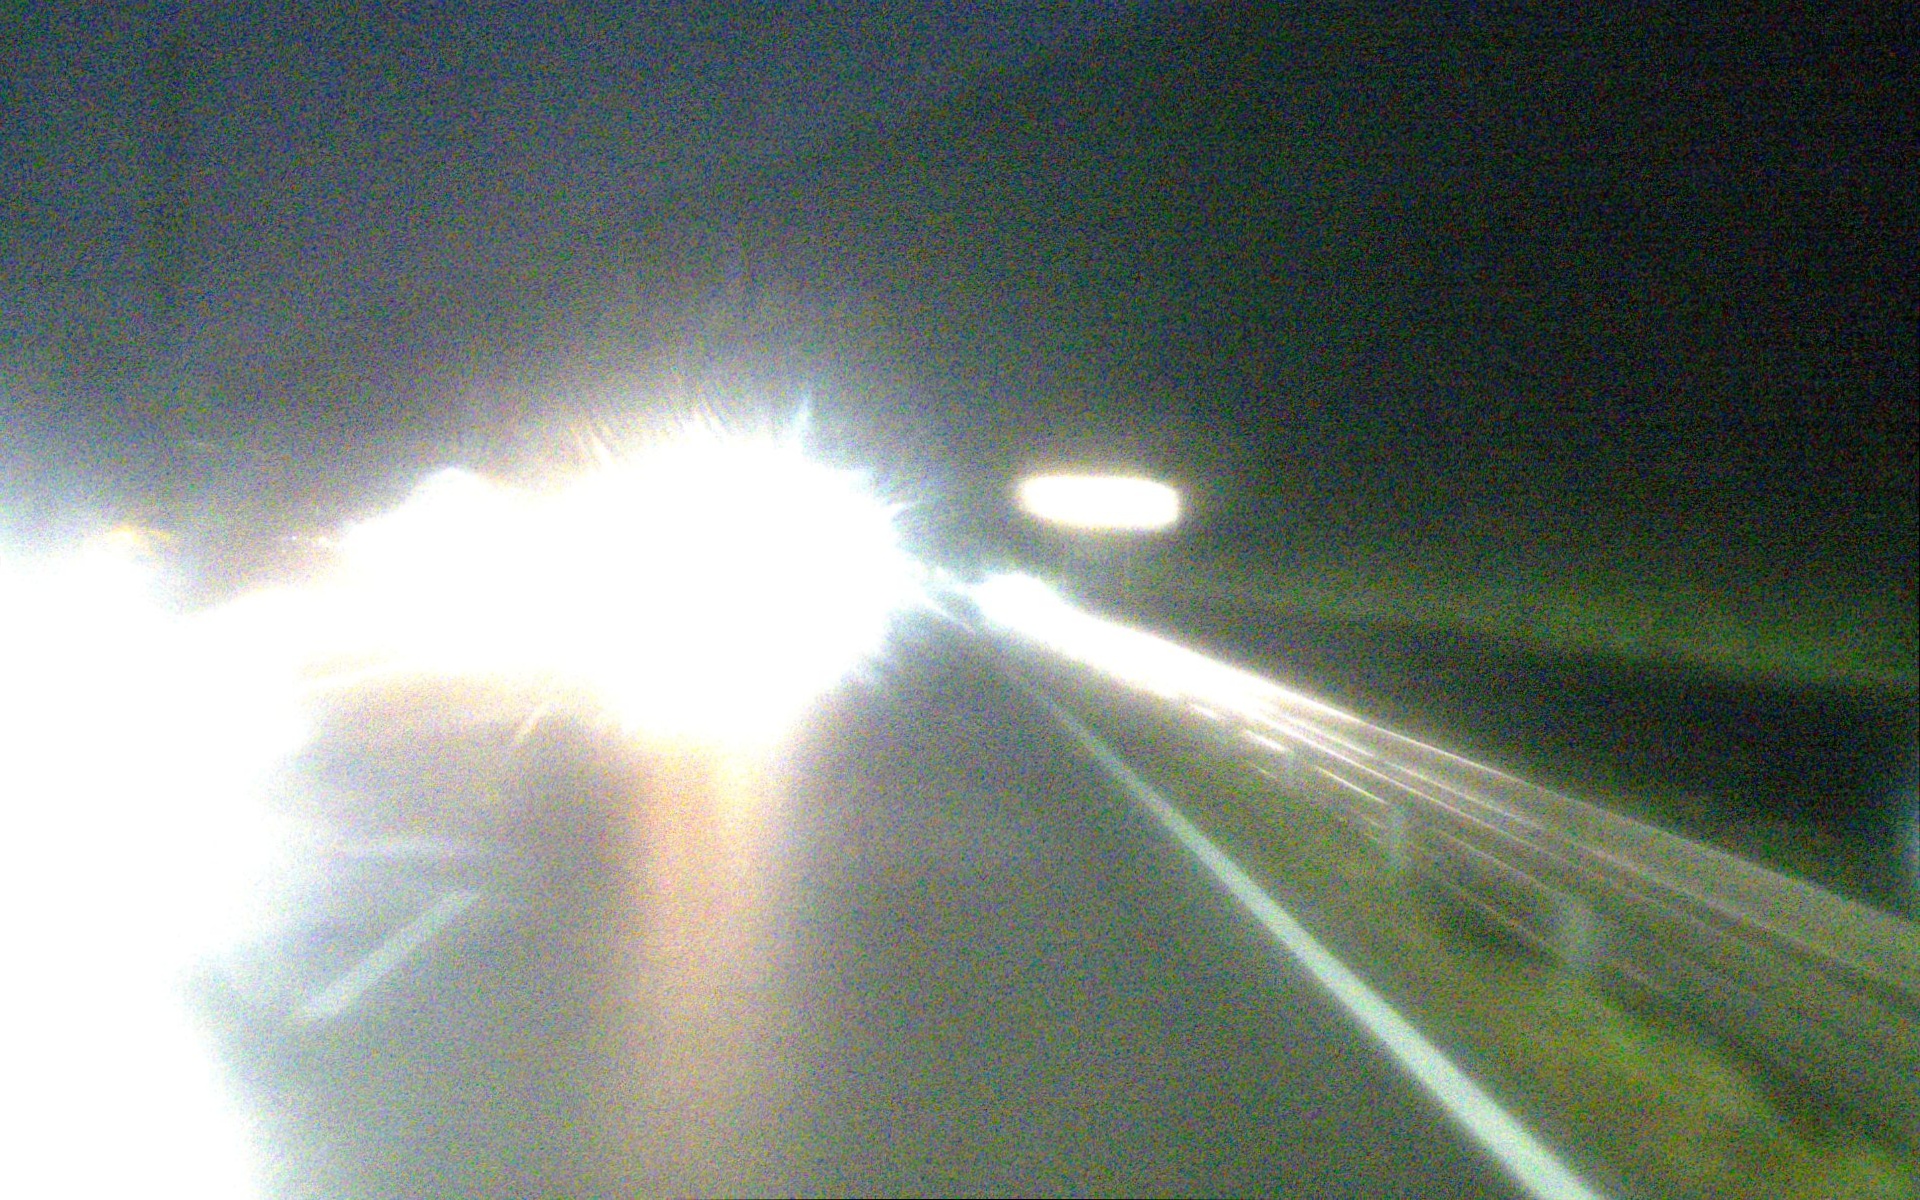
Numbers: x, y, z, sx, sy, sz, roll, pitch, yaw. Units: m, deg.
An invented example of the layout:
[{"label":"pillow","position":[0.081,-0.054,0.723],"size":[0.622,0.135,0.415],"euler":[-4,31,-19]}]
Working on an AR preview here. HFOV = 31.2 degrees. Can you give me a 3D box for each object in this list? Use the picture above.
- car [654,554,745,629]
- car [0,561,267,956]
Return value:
[{"label":"car","position":[-5.830,-0.219,77.301],"size":[1.868,1.607,3.847],"euler":[1,1,-2]},{"label":"car","position":[-3.951,0.538,13.923],"size":[1.641,1.355,3.681],"euler":[1,1,-2]}]
